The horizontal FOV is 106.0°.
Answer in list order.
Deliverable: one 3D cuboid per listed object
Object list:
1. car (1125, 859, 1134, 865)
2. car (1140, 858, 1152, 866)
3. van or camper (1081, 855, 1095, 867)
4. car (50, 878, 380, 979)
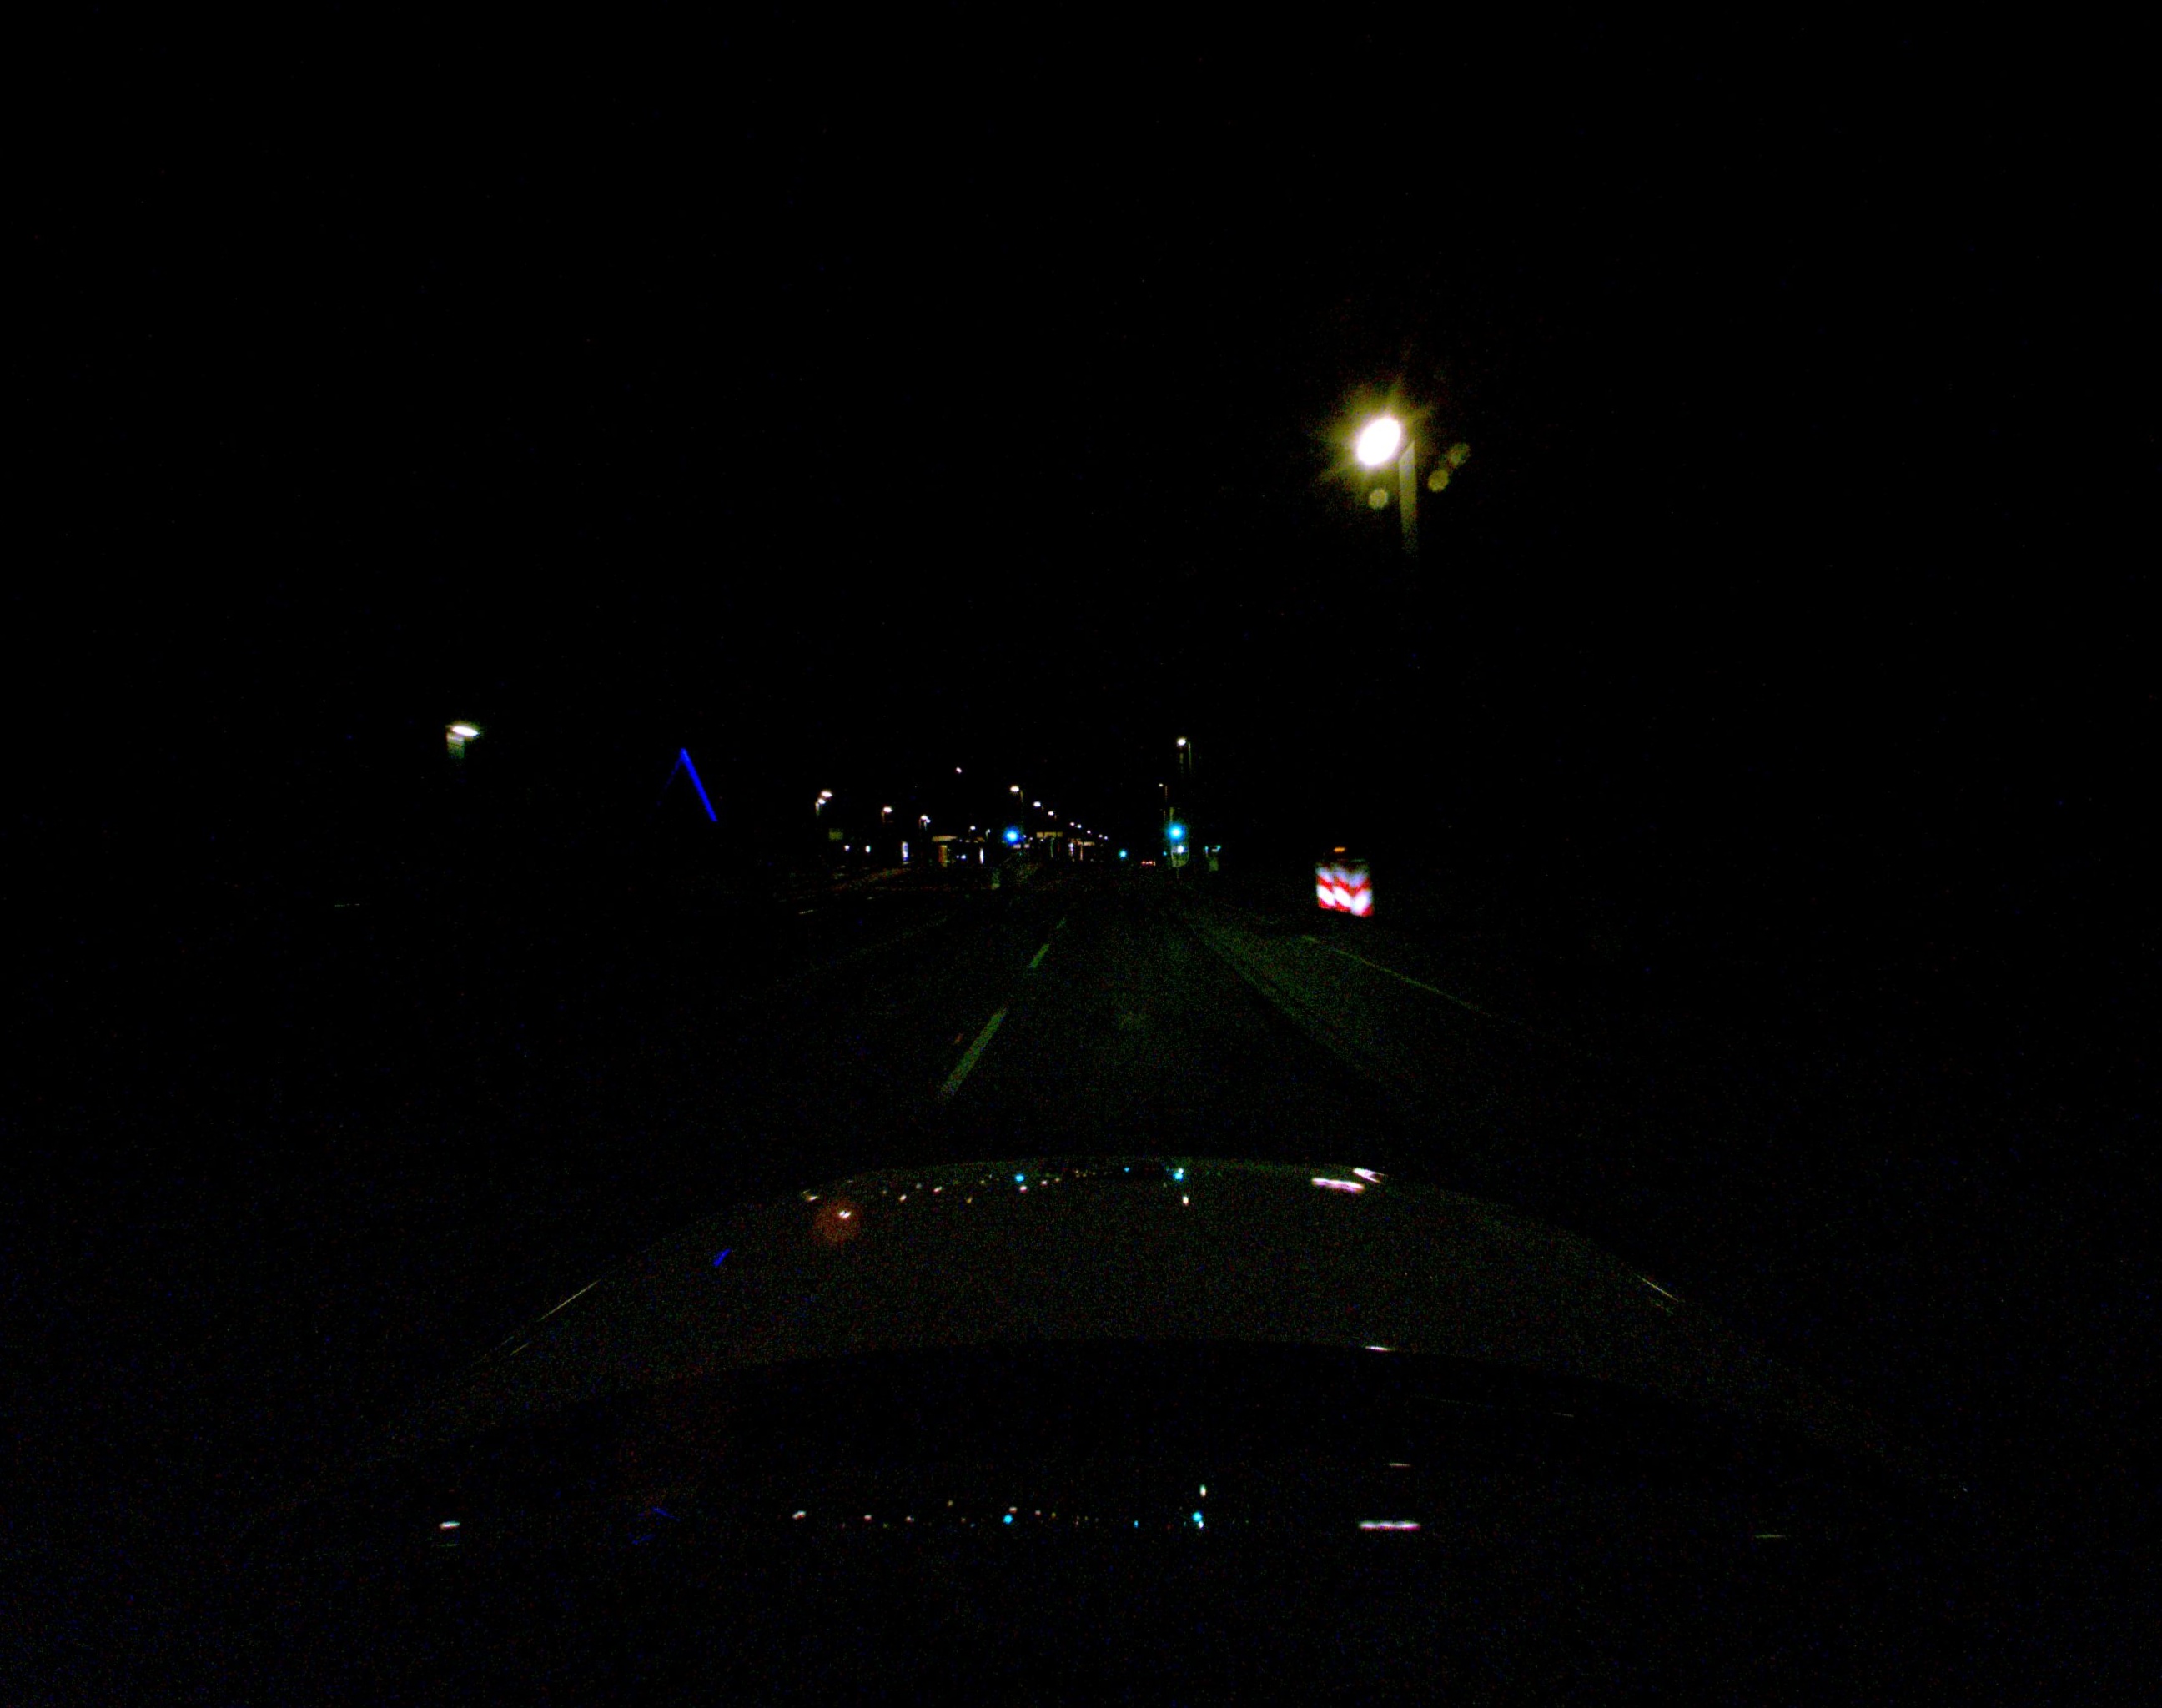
[{"bbox_3d":[15.264,2.551,256.430,1.981,1.628,4.691,-2,-1,11],"label":"car"},{"bbox_3d":[12.266,1.471,152.726,2.150,1.583,4.020,0,-1,7],"label":"car"},{"bbox_3d":[1.519,1.556,182.120,2.260,2.647,5.675,-4,-1,7],"label":"van or camper"},{"bbox_3d":[-16.124,1.288,15.553,1.859,1.505,4.094,-2,0,0],"label":"car"}]
